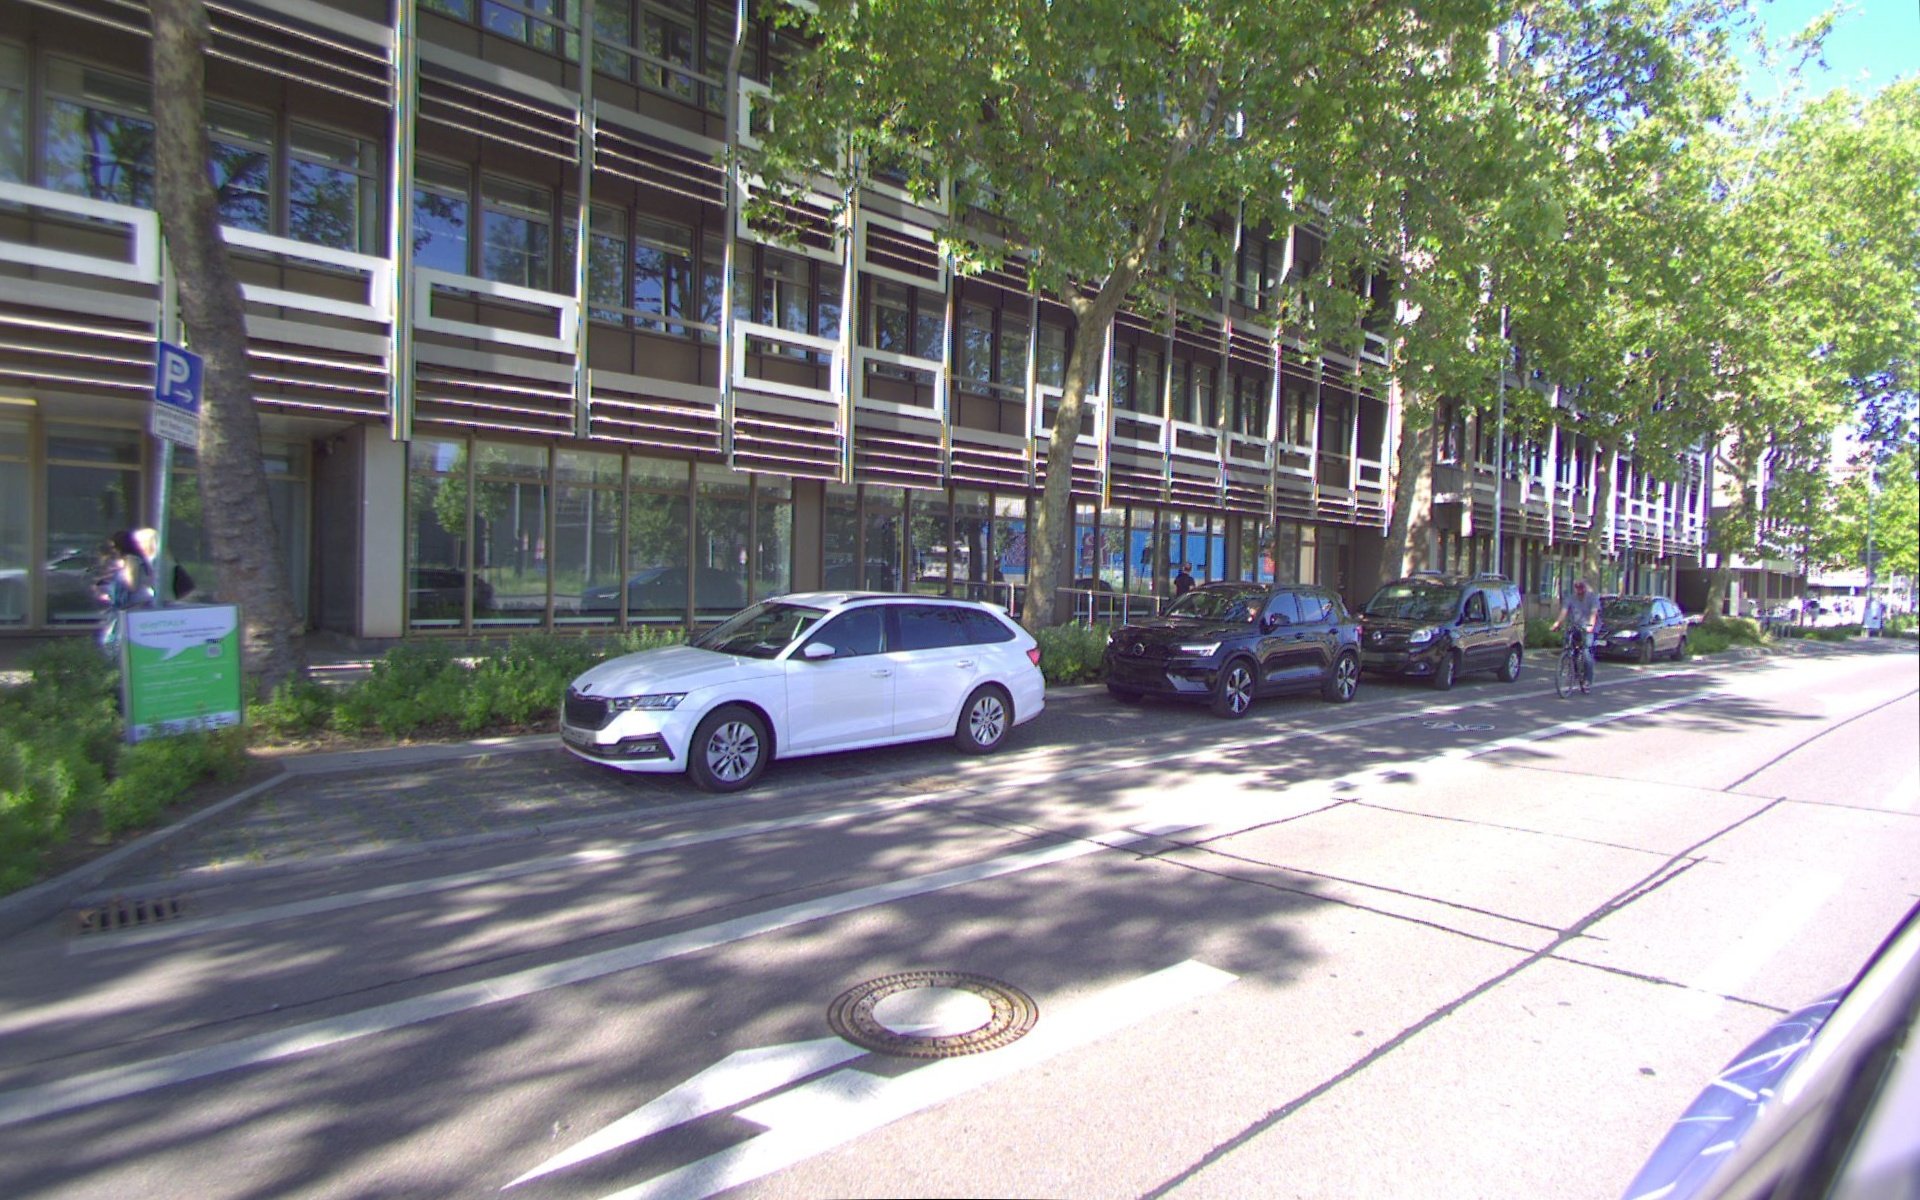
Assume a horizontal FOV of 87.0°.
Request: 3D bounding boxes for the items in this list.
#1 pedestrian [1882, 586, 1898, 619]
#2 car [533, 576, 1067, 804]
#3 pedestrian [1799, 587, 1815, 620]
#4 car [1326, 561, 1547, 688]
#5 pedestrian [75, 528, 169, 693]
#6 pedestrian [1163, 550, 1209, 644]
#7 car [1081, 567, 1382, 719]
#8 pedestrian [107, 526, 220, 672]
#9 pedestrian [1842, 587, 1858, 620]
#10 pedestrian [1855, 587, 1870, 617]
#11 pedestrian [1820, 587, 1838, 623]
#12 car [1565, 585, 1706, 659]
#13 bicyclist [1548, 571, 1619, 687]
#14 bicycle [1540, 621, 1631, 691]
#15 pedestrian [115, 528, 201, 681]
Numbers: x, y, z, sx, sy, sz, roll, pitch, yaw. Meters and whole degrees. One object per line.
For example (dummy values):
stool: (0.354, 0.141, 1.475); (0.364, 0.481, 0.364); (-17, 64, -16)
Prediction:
pedestrian: (54.424, 0.145, 59.212); (0.559, 1.863, 0.591); (1, 0, -41)
car: (-1.226, 0.612, 9.100); (4.481, 1.508, 1.751); (0, 3, -41)
pedestrian: (48.548, 0.188, 58.001); (0.685, 1.863, 0.591); (1, 0, -42)
car: (8.097, 0.347, 17.022); (4.262, 1.843, 1.751); (0, 3, -41)
pedestrian: (-8.676, 0.089, 10.483); (0.715, 1.620, 0.668); (1, 3, -40)
pedestrian: (5.032, -0.077, 22.523); (0.615, 2.039, 0.741); (1, 0, -40)
car: (3.711, 0.471, 13.431); (4.262, 1.653, 1.751); (0, 3, -41)
pedestrian: (-9.323, -0.023, 11.851); (0.991, 1.620, 0.668); (1, 3, -41)
pedestrian: (49.803, 0.194, 56.646); (0.559, 1.863, 0.591); (1, 0, -41)
pedestrian: (55.317, 0.115, 62.056); (0.559, 1.863, 0.591); (1, 0, -41)
pedestrian: (45.158, 0.257, 52.596); (0.684, 1.863, 0.591); (1, 0, -42)
car: (16.424, 0.485, 24.529); (4.262, 1.573, 1.751); (0, 3, -41)
bicyclist: (9.545, 0.434, 15.486); (0.838, 1.709, 0.710); (1, -1, -42)
bicycle: (9.645, 0.846, 15.573); (1.891, 1.006, 0.710); (2, -2, -43)
pedestrian: (-8.921, 0.038, 11.256); (0.715, 1.620, 0.668); (1, 3, -40)
